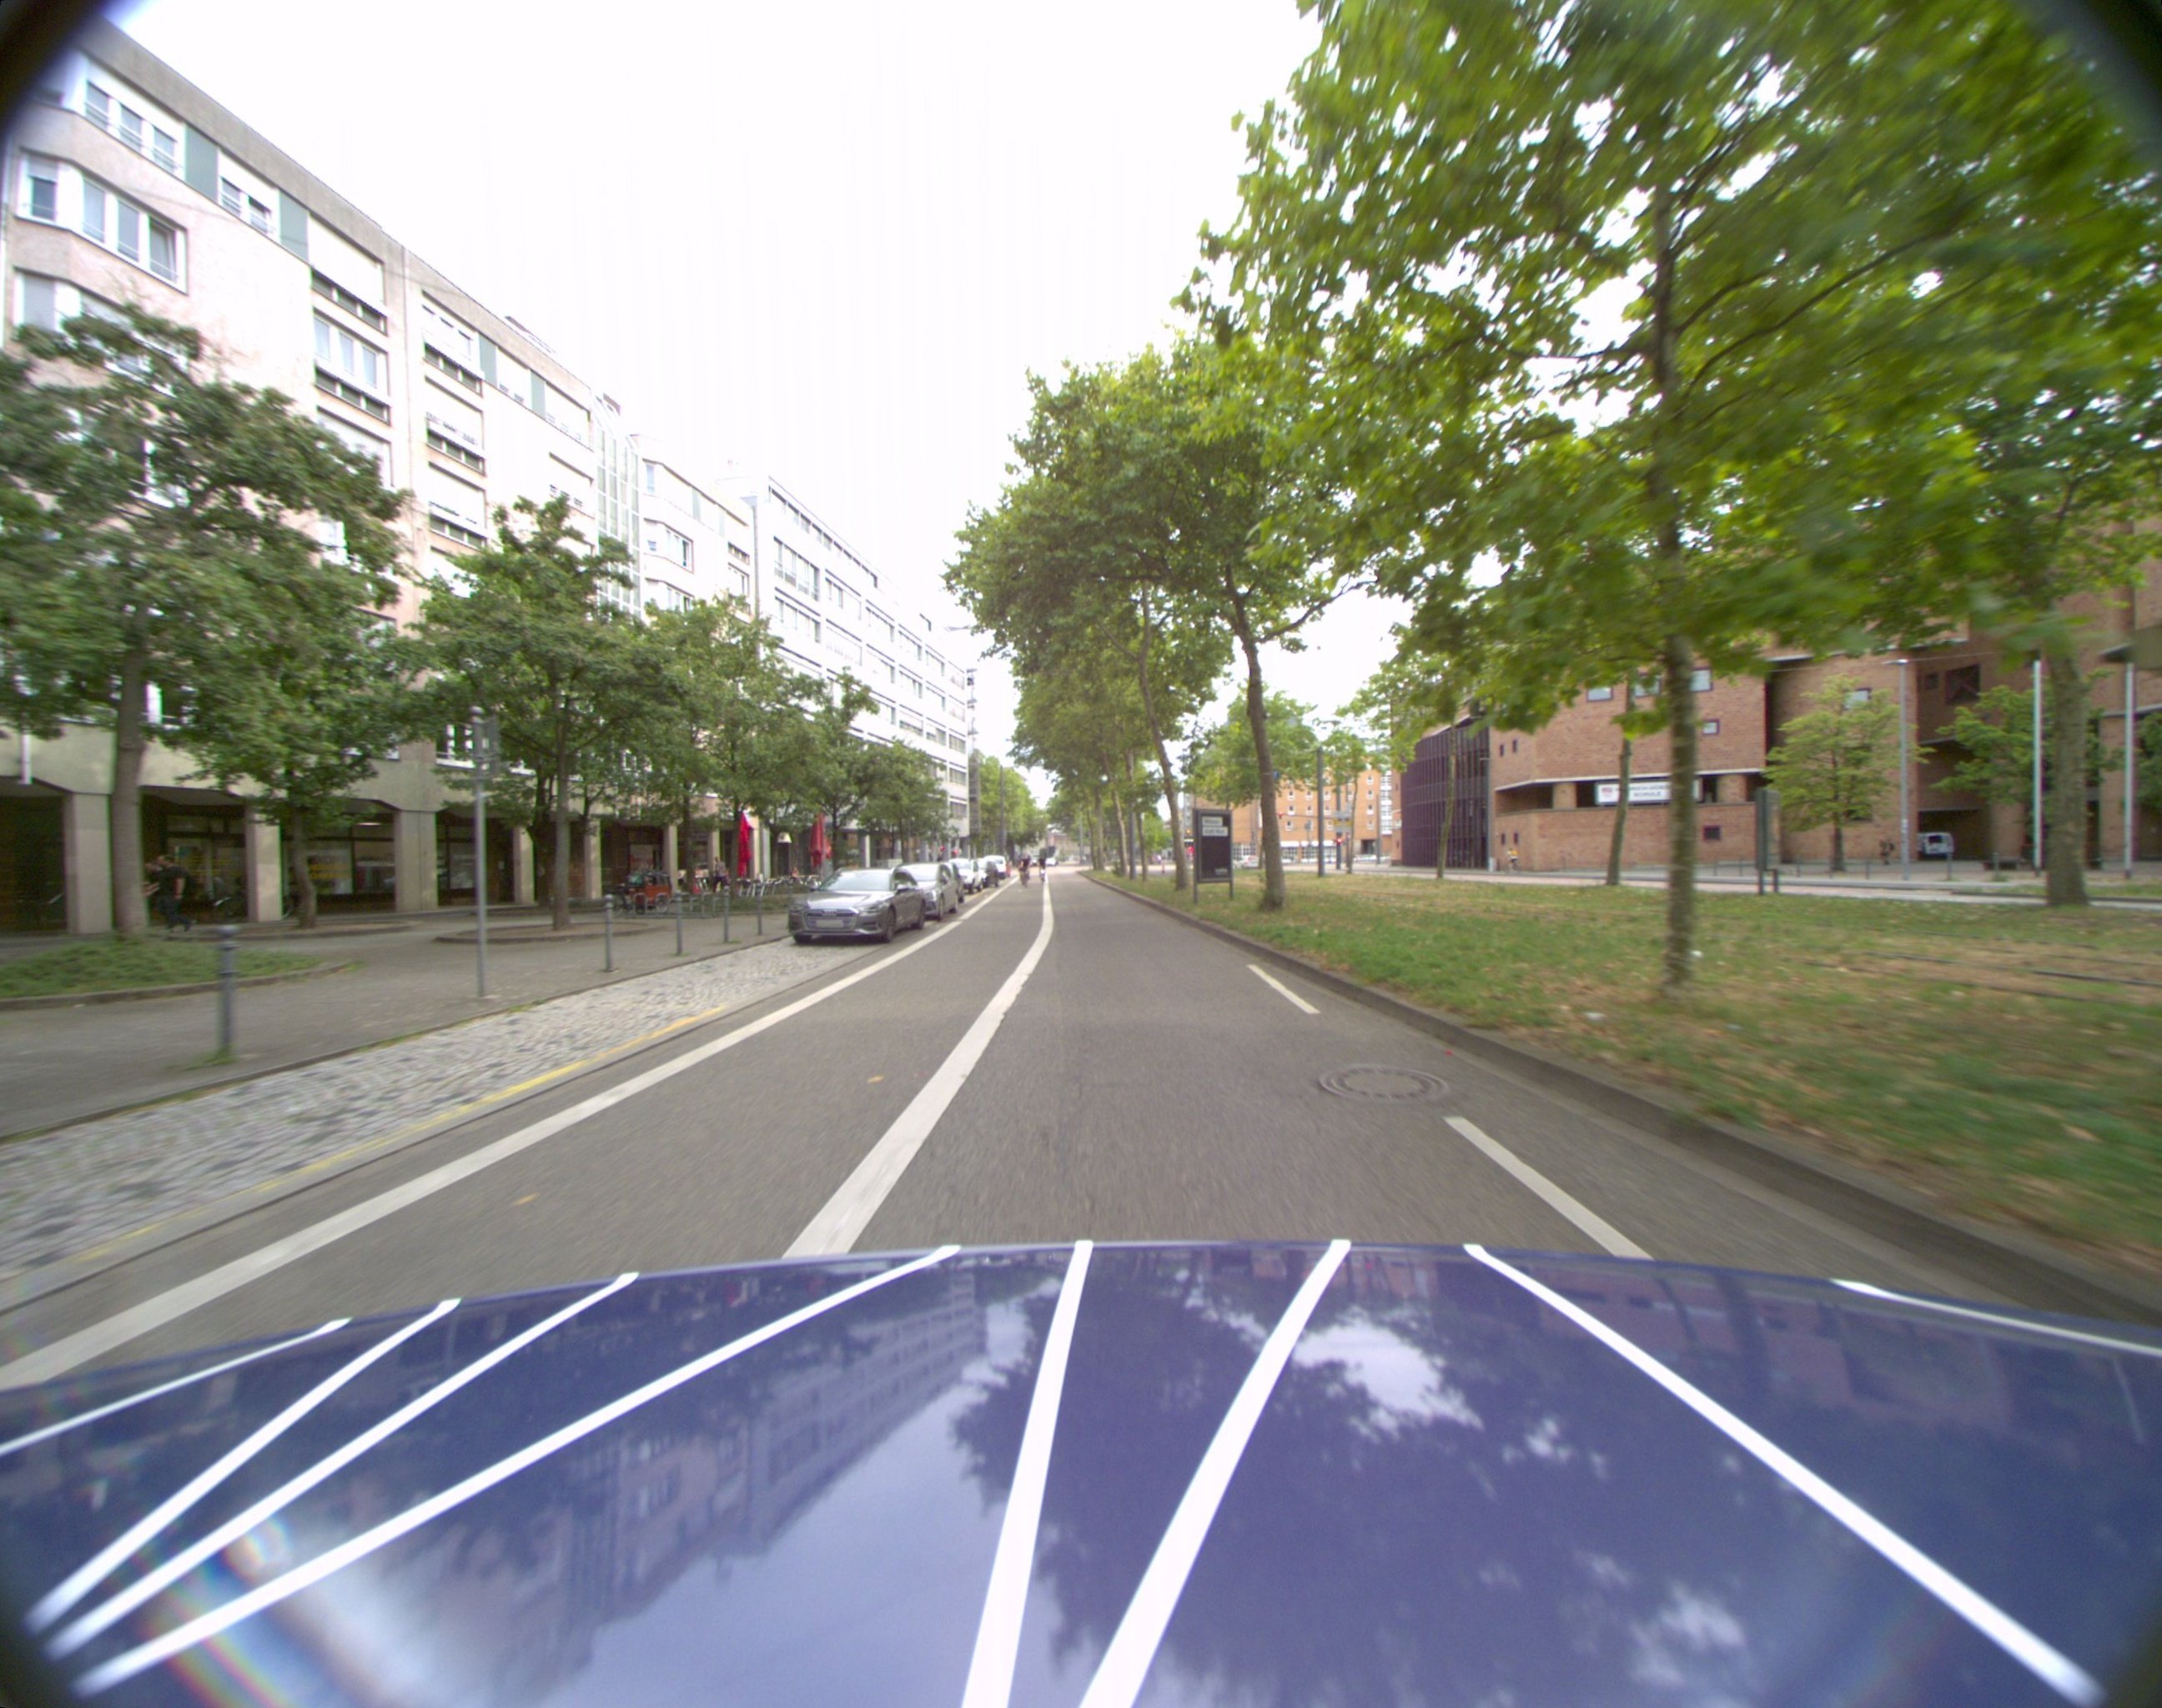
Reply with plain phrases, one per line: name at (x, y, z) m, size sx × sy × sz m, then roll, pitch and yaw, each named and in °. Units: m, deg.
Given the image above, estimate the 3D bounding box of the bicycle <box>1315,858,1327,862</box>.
bicycle at (41.370, 1.036, 131.114) m, size 1.796 × 0.777 × 0.640 m, roll -1°, pitch 1°, yaw -5°

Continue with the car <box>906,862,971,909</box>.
car at (-4.963, 1.055, 27.023) m, size 1.720 × 1.510 × 4.203 m, roll 1°, pitch 0°, yaw -3°

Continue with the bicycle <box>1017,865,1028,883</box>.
bicycle at (-3.690, 1.242, 47.894) m, size 0.596 × 1.132 × 1.734 m, roll -1°, pitch 0°, yaw -2°

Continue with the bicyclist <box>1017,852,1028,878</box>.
bicyclist at (-3.696, 0.705, 47.936) m, size 0.591 × 1.644 × 1.035 m, roll -1°, pitch 0°, yaw -2°

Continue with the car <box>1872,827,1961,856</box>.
car at (55.717, -0.821, 50.773) m, size 1.896 × 1.797 × 4.003 m, roll -1°, pitch 0°, yaw 9°

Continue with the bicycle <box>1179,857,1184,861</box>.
bicycle at (22.836, 1.158, 172.906) m, size 0.659 × 0.931 × 1.892 m, roll -1°, pitch 1°, yaw -7°

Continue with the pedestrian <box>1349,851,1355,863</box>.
pedestrian at (38.547, 0.374, 107.975) m, size 0.540 × 1.721 × 0.543 m, roll -1°, pitch 0°, yaw -4°

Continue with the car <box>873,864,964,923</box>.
car at (-4.523, 1.046, 21.788) m, size 1.744 × 1.510 × 4.401 m, roll 0°, pitch 0°, yaw -1°

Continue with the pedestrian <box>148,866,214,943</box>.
pedestrian at (-19.961, 1.107, 16.865) m, size 0.606 × 1.653 × 0.682 m, roll -1°, pitch 0°, yaw 7°

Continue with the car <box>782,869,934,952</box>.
car at (-4.498, 1.071, 16.097) m, size 1.821 × 1.434 × 4.666 m, roll 0°, pitch 0°, yaw 0°

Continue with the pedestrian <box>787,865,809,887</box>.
pedestrian at (-15.130, 1.167, 40.594) m, size 0.822 × 1.150 × 0.699 m, roll -1°, pitch 0°, yaw 9°

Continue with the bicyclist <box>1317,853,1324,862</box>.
bicyclist at (41.330, 0.539, 131.095) m, size 0.865 × 1.492 × 0.636 m, roll -1°, pitch 1°, yaw -4°

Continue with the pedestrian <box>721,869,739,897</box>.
pedestrian at (-14.906, 1.219, 32.240) m, size 0.516 × 1.170 × 0.458 m, roll -1°, pitch 0°, yaw 26°

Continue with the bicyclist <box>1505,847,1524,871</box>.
bicyclist at (29.091, 0.357, 50.973) m, size 0.665 × 1.581 × 0.984 m, roll -1°, pitch 0°, yaw 1°

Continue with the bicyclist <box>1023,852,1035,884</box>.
bicyclist at (-2.925, 0.789, 42.777) m, size 0.591 × 1.757 × 1.035 m, roll -1°, pitch 0°, yaw -2°

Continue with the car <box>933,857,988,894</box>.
car at (-5.614, 0.958, 35.900) m, size 1.866 × 1.643 × 4.164 m, roll 0°, pitch 0°, yaw 1°

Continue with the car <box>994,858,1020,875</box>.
car at (-6.419, 1.070, 66.491) m, size 1.726 × 1.424 × 4.254 m, roll 1°, pitch 0°, yaw 2°

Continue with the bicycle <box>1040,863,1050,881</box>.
bicycle at (-2.242, 1.116, 48.054) m, size 0.596 × 1.132 × 1.858 m, roll -1°, pitch 0°, yaw -2°

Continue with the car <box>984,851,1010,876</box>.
car at (-6.561, 0.769, 59.818) m, size 1.832 × 1.853 × 4.646 m, roll 1°, pitch 0°, yaw -5°

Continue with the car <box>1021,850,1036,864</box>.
car at (-9.717, 0.516, 141.957) m, size 2.174 × 2.441 × 6.997 m, roll -1°, pitch 0°, yaw 1°

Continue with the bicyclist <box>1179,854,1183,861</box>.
bicyclist at (22.822, 0.769, 172.942) m, size 0.651 × 1.492 × 0.817 m, roll -1°, pitch 1°, yaw -7°

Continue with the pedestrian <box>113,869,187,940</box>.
pedestrian at (-20.938, 1.115, 17.100) m, size 0.711 × 1.546 × 0.800 m, roll -1°, pitch 0°, yaw 12°

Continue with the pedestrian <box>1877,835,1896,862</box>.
pedestrian at (45.289, -0.295, 42.722) m, size 0.508 × 1.523 × 0.521 m, roll -1°, pitch 0°, yaw 13°

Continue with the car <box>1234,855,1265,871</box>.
car at (16.451, 0.865, 74.406) m, size 1.789 × 1.413 × 4.657 m, roll -1°, pitch 0°, yaw -4°

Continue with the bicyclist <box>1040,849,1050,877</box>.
bicyclist at (-2.249, 0.553, 48.080) m, size 0.591 × 1.760 × 1.035 m, roll -1°, pitch 0°, yaw -2°

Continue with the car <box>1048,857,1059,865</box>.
car at (-5.324, 1.383, 147.702) m, size 1.845 × 1.369 × 3.835 m, roll -1°, pitch -1°, yaw 3°

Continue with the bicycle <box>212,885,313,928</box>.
bicycle at (-21.607, 1.372, 20.119) m, size 0.486 × 1.007 × 1.863 m, roll -1°, pitch 0°, yaw 7°

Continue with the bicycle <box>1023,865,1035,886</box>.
bicycle at (-2.926, 1.172, 42.794) m, size 0.596 × 1.132 × 2.090 m, roll -1°, pitch 0°, yaw -2°

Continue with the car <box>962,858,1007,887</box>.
car at (-5.523, 1.004, 43.938) m, size 1.779 × 1.567 × 4.306 m, roll 1°, pitch 0°, yaw 4°

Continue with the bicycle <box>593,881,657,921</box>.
bicycle at (-12.786, 1.287, 21.354) m, size 0.486 × 1.007 × 1.863 m, roll -1°, pitch 0°, yaw 7°

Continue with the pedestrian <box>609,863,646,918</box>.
pedestrian at (-13.349, 1.060, 22.398) m, size 0.606 × 1.577 × 0.682 m, roll -1°, pitch 0°, yaw 7°

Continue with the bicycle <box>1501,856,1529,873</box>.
bicycle at (29.093, 0.703, 50.958) m, size 0.669 × 1.078 × 2.094 m, roll -1°, pitch 0°, yaw 1°

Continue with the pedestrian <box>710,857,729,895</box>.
pedestrian at (-15.115, 0.919, 31.764) m, size 0.516 × 1.560 × 0.481 m, roll -1°, pitch 0°, yaw 33°

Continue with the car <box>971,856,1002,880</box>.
car at (-6.645, 0.980, 53.413) m, size 2.001 × 1.593 × 4.580 m, roll 2°, pitch -1°, yaw -7°
